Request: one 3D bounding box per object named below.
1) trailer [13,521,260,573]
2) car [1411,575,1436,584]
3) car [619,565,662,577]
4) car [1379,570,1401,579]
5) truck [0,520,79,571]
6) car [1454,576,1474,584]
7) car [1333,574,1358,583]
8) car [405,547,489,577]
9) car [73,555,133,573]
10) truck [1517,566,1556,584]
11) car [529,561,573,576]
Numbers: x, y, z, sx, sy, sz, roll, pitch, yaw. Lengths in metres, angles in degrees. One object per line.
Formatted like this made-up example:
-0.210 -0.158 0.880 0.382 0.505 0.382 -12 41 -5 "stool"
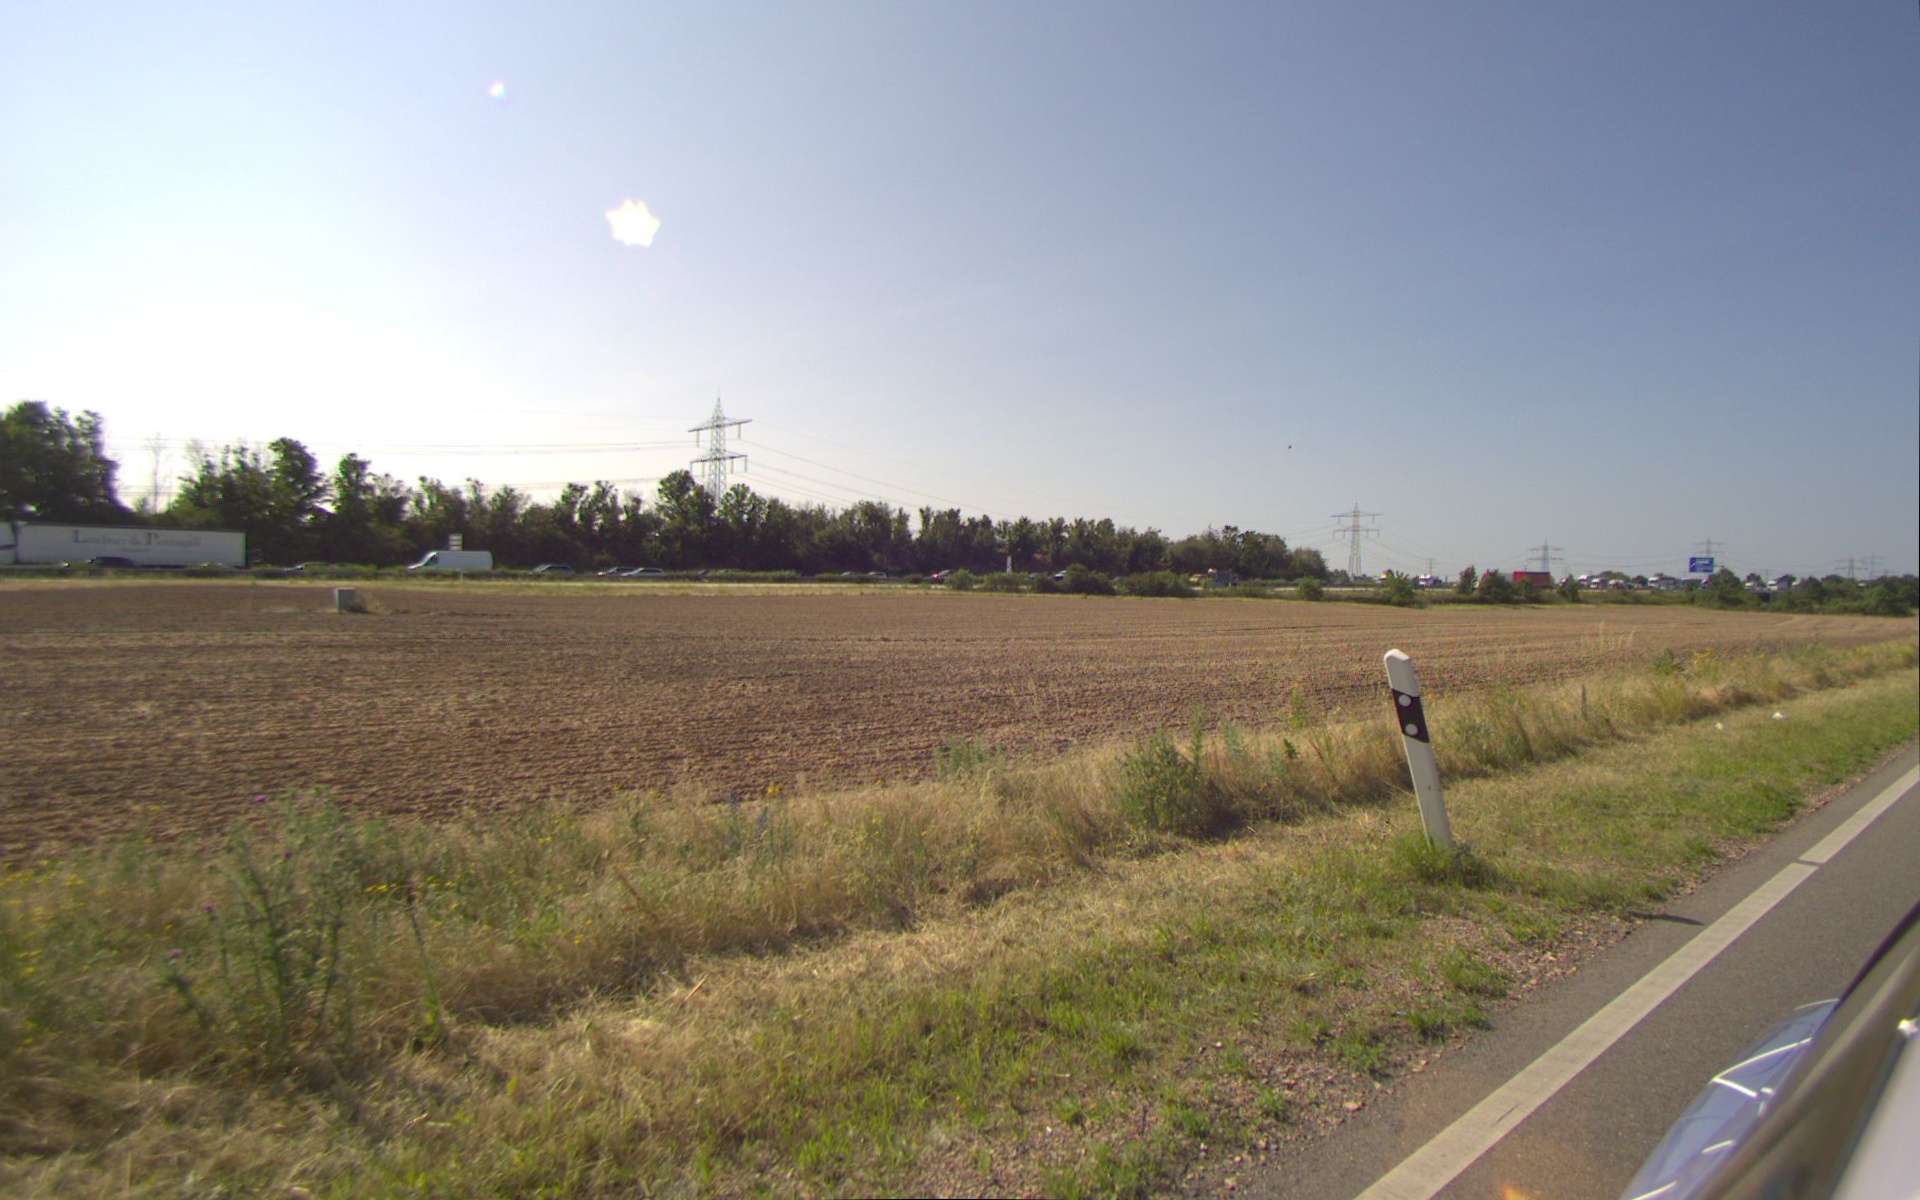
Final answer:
-64.000 -4.040 79.286 14.826 3.574 3.207 0 2 -42 "trailer"
83.472 -3.695 182.279 5.509 1.701 2.054 0 1 -40 "car"
-31.365 -2.835 99.439 3.796 1.139 1.342 -1 1 -42 "car"
90.393 -5.324 212.869 5.509 1.701 2.054 0 1 -40 "car"
-69.030 -4.004 74.703 6.005 3.574 3.208 0 2 -42 "truck"
116.899 -4.612 234.600 5.509 1.701 2.054 0 1 -40 "car"
72.925 -4.039 191.344 5.509 1.701 2.054 0 1 -40 "car"
-45.236 -3.297 89.321 6.302 2.477 2.041 0 1 -41 "car"
-61.405 -2.600 72.509 3.237 1.234 1.342 -1 2 -44 "car"
123.990 -5.373 217.548 13.448 3.603 2.909 0 1 -41 "truck"
-37.870 -2.863 93.747 3.601 1.323 1.341 -1 1 -44 "car"
